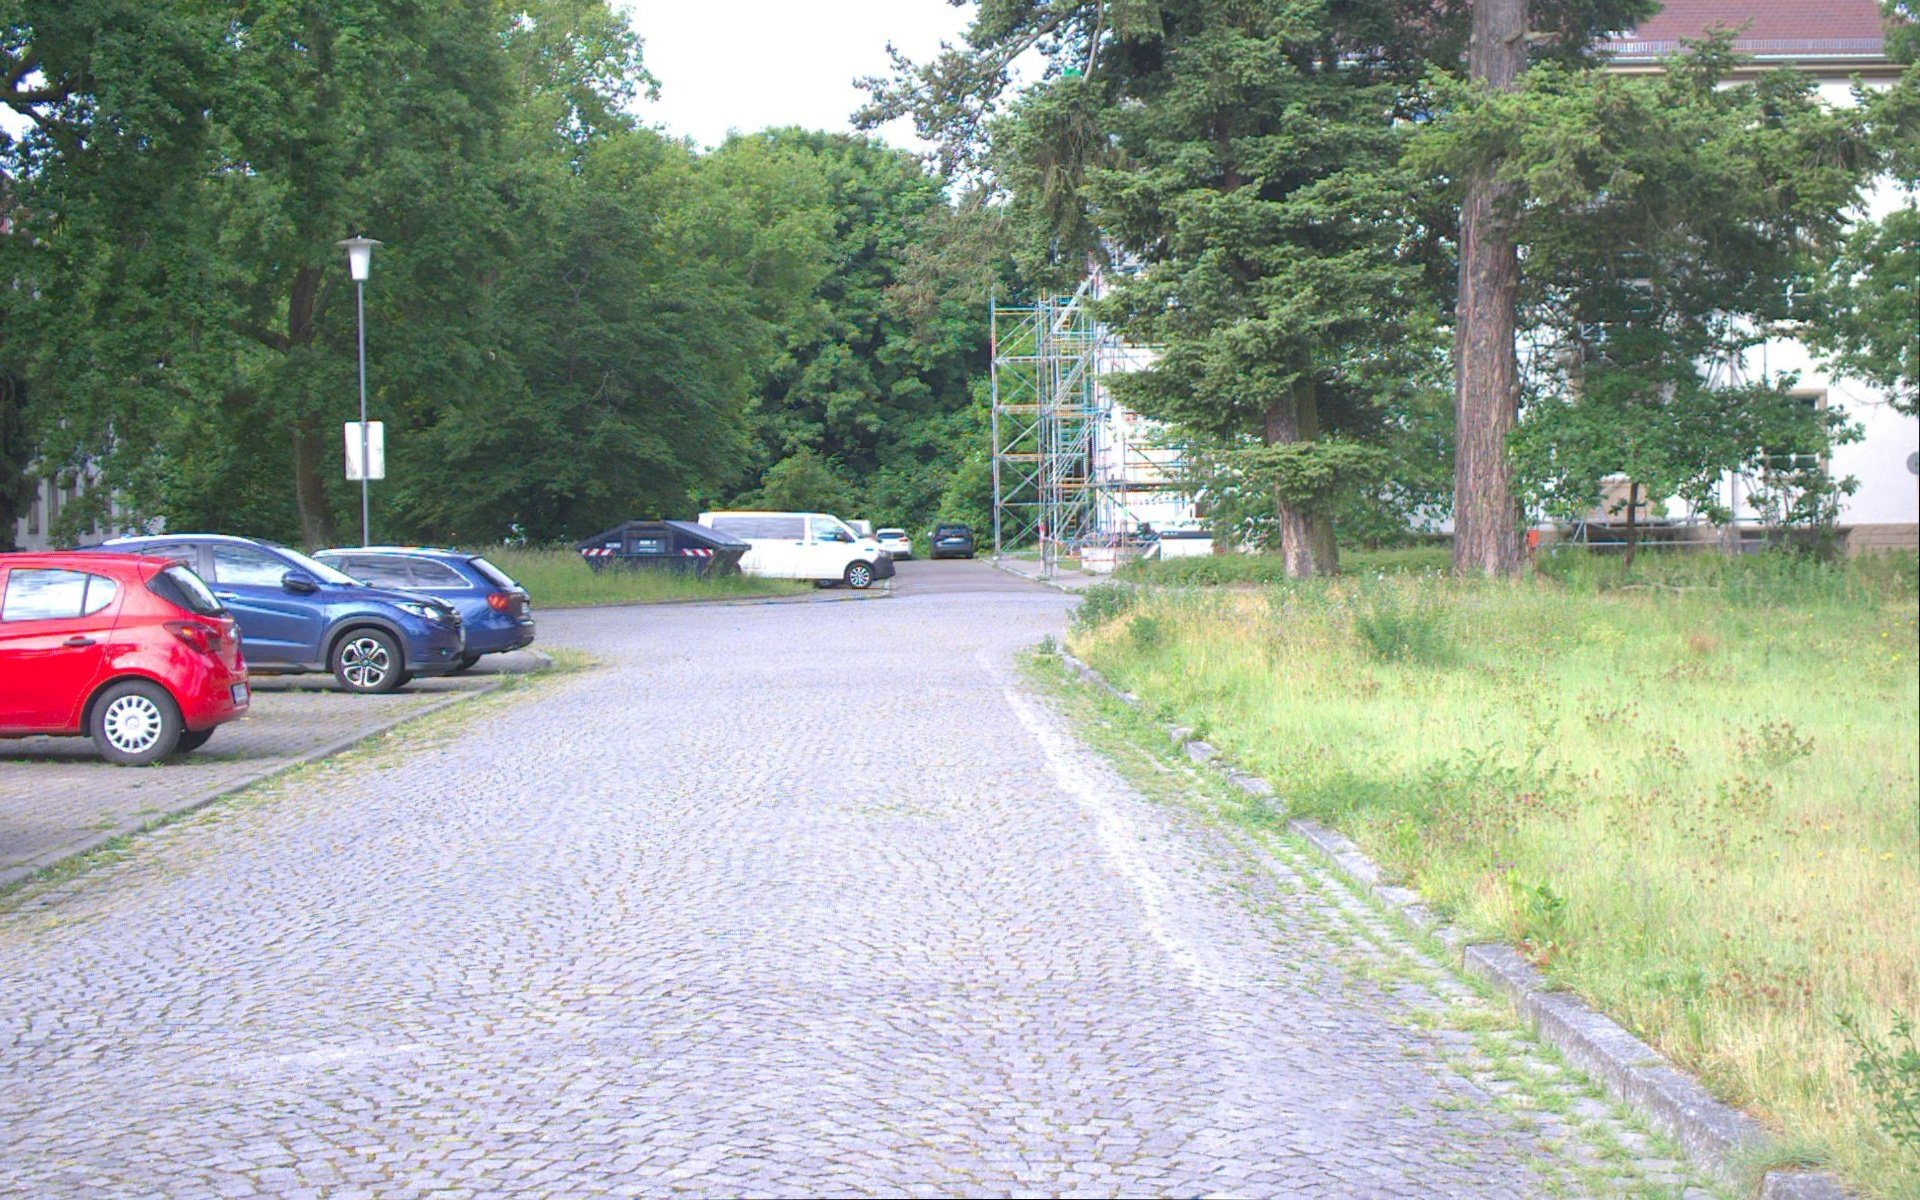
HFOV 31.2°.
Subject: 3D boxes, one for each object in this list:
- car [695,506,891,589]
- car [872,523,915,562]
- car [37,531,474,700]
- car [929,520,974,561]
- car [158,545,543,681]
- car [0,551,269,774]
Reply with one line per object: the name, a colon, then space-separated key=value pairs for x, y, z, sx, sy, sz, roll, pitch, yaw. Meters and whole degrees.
car: x=-4.285 y=-1.346 z=88.424 sx=4.977 sy=2.065 sz=2.052 roll=0 pitch=0 yaw=-2
car: x=-3.011 y=-2.583 z=154.488 sx=1.790 sy=1.630 sz=4.061 roll=-1 pitch=0 yaw=-3
car: x=-7.055 y=0.136 z=34.726 sx=4.071 sy=1.598 sz=1.788 roll=-1 pitch=1 yaw=-2
car: x=-0.395 y=-2.689 z=154.842 sx=1.790 sy=1.714 sz=4.061 roll=-1 pitch=0 yaw=-3
car: x=-6.949 y=0.136 z=39.426 sx=4.071 sy=1.462 sz=1.626 roll=-1 pitch=1 yaw=3
car: x=-7.004 y=0.433 z=24.478 sx=3.815 sy=1.484 sz=1.788 roll=-1 pitch=1 yaw=-2
